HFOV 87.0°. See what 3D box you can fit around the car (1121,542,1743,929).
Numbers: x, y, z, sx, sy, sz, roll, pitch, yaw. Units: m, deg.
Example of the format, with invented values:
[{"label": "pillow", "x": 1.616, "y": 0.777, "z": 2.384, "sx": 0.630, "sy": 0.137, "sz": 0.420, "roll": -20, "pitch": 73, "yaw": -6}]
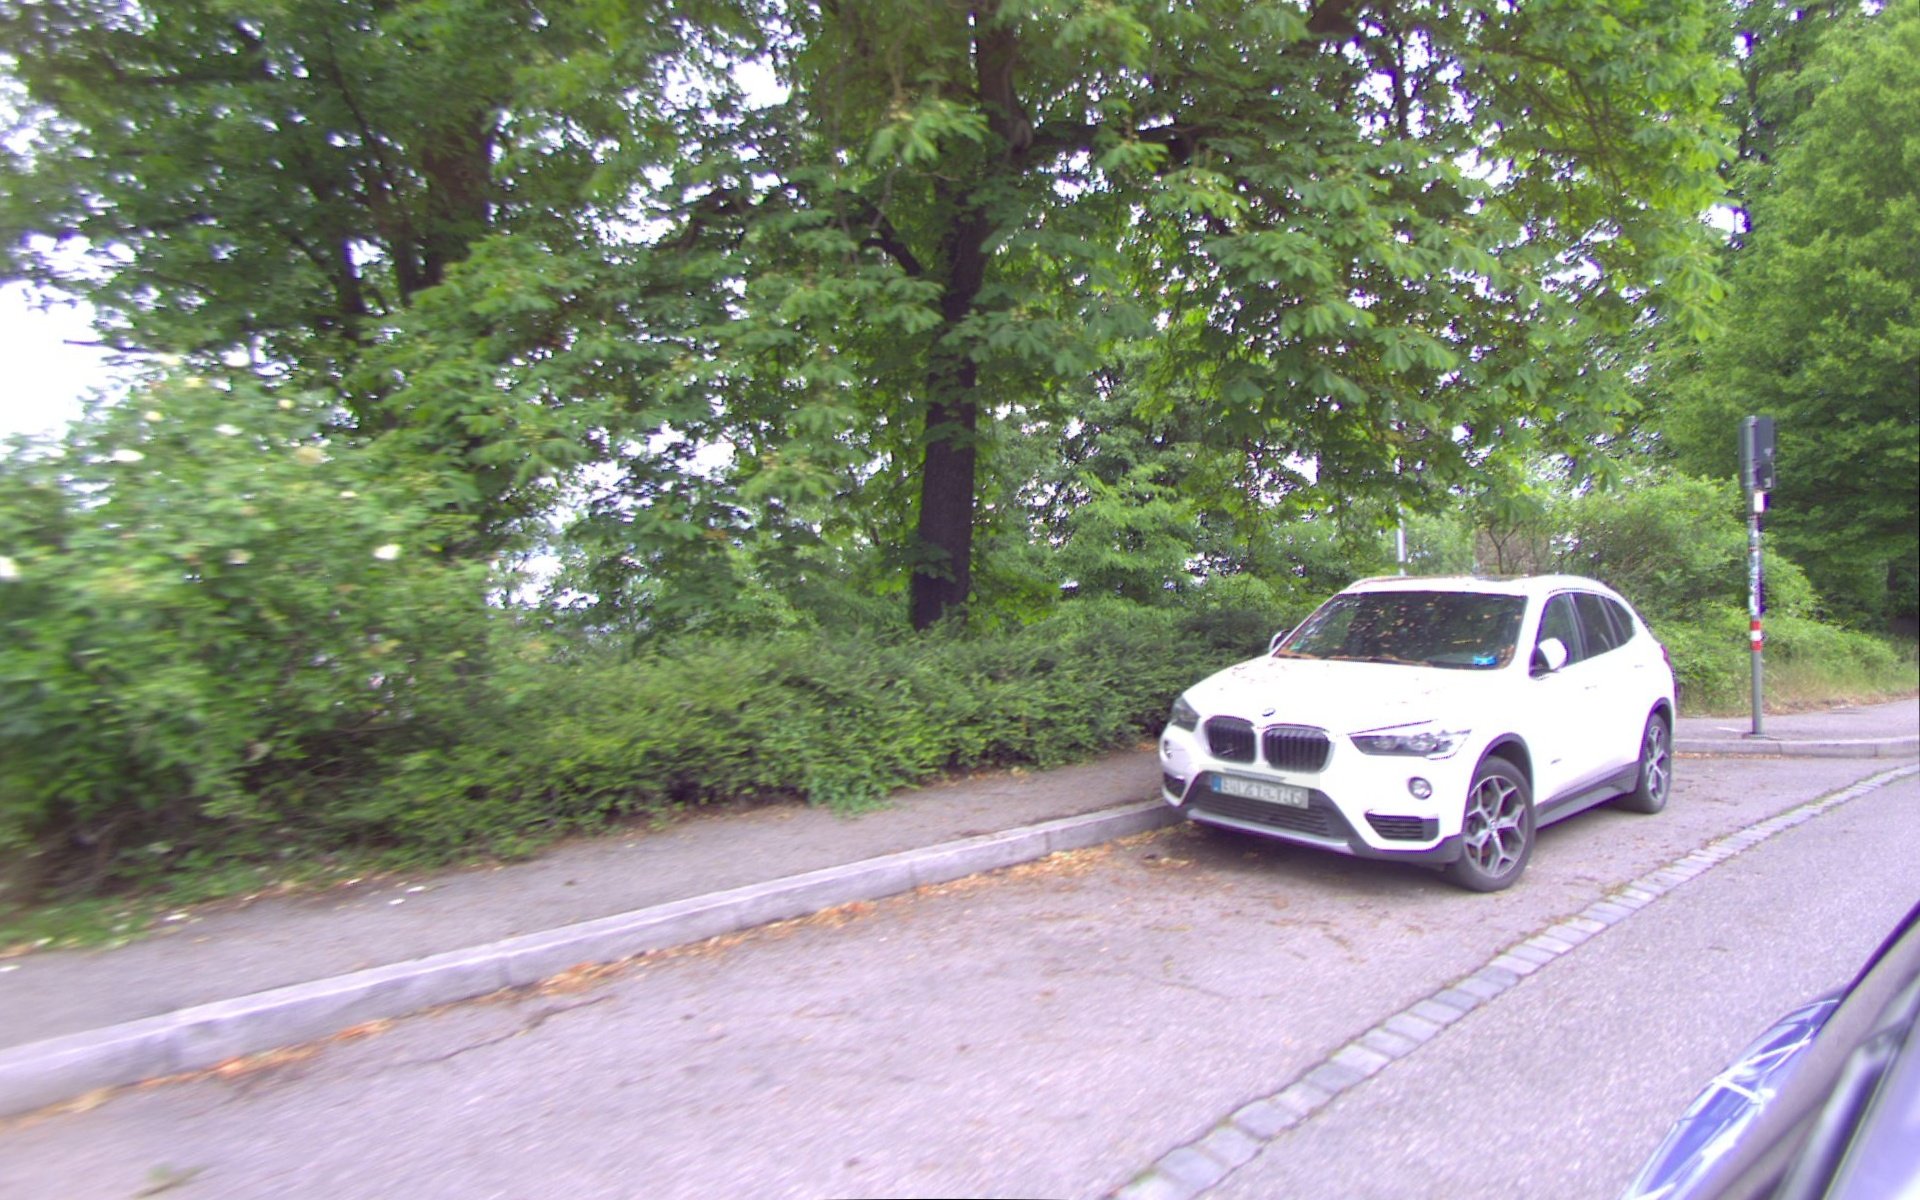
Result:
[{"label": "car", "x": 3.158, "y": 0.542, "z": 6.379, "sx": 4.300, "sy": 1.672, "sz": 1.763, "roll": -1, "pitch": 2, "yaw": -38}]
